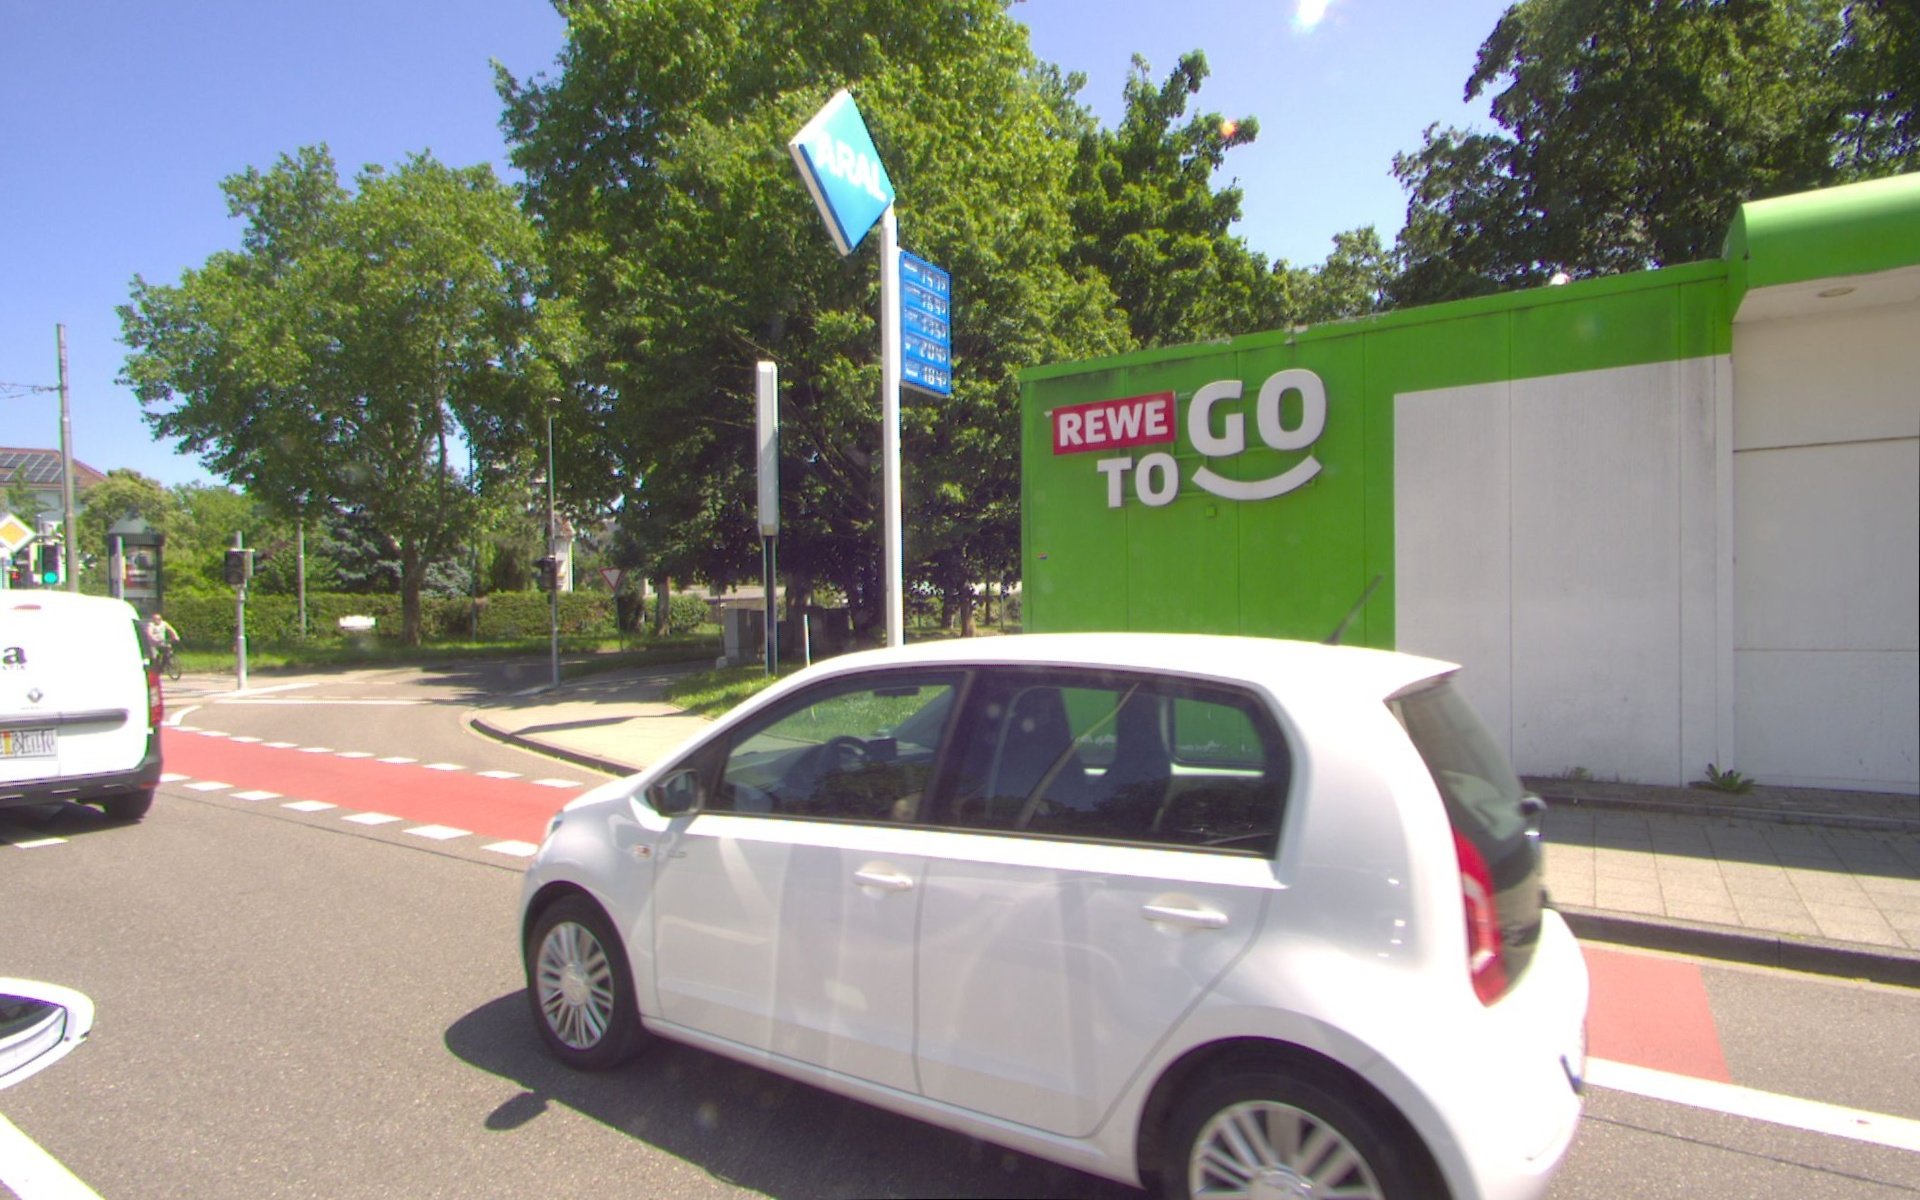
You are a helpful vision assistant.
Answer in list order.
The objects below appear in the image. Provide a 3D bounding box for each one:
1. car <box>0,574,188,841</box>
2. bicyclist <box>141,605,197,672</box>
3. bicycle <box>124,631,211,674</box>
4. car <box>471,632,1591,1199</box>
[{"bbox_3d":[-8.097,0.769,8.015,4.005,1.811,1.725,-1,-2,31],"label":"car"},{"bbox_3d":[-22.001,1.060,27.864,0.713,1.811,0.976,-1,0,13],"label":"bicyclist"},{"bbox_3d":[-22.037,1.452,27.843,1.920,1.174,0.894,-1,0,13],"label":"bicycle"},{"bbox_3d":[0.103,0.862,3.347,3.387,1.466,1.606,0,-1,33],"label":"car"}]
